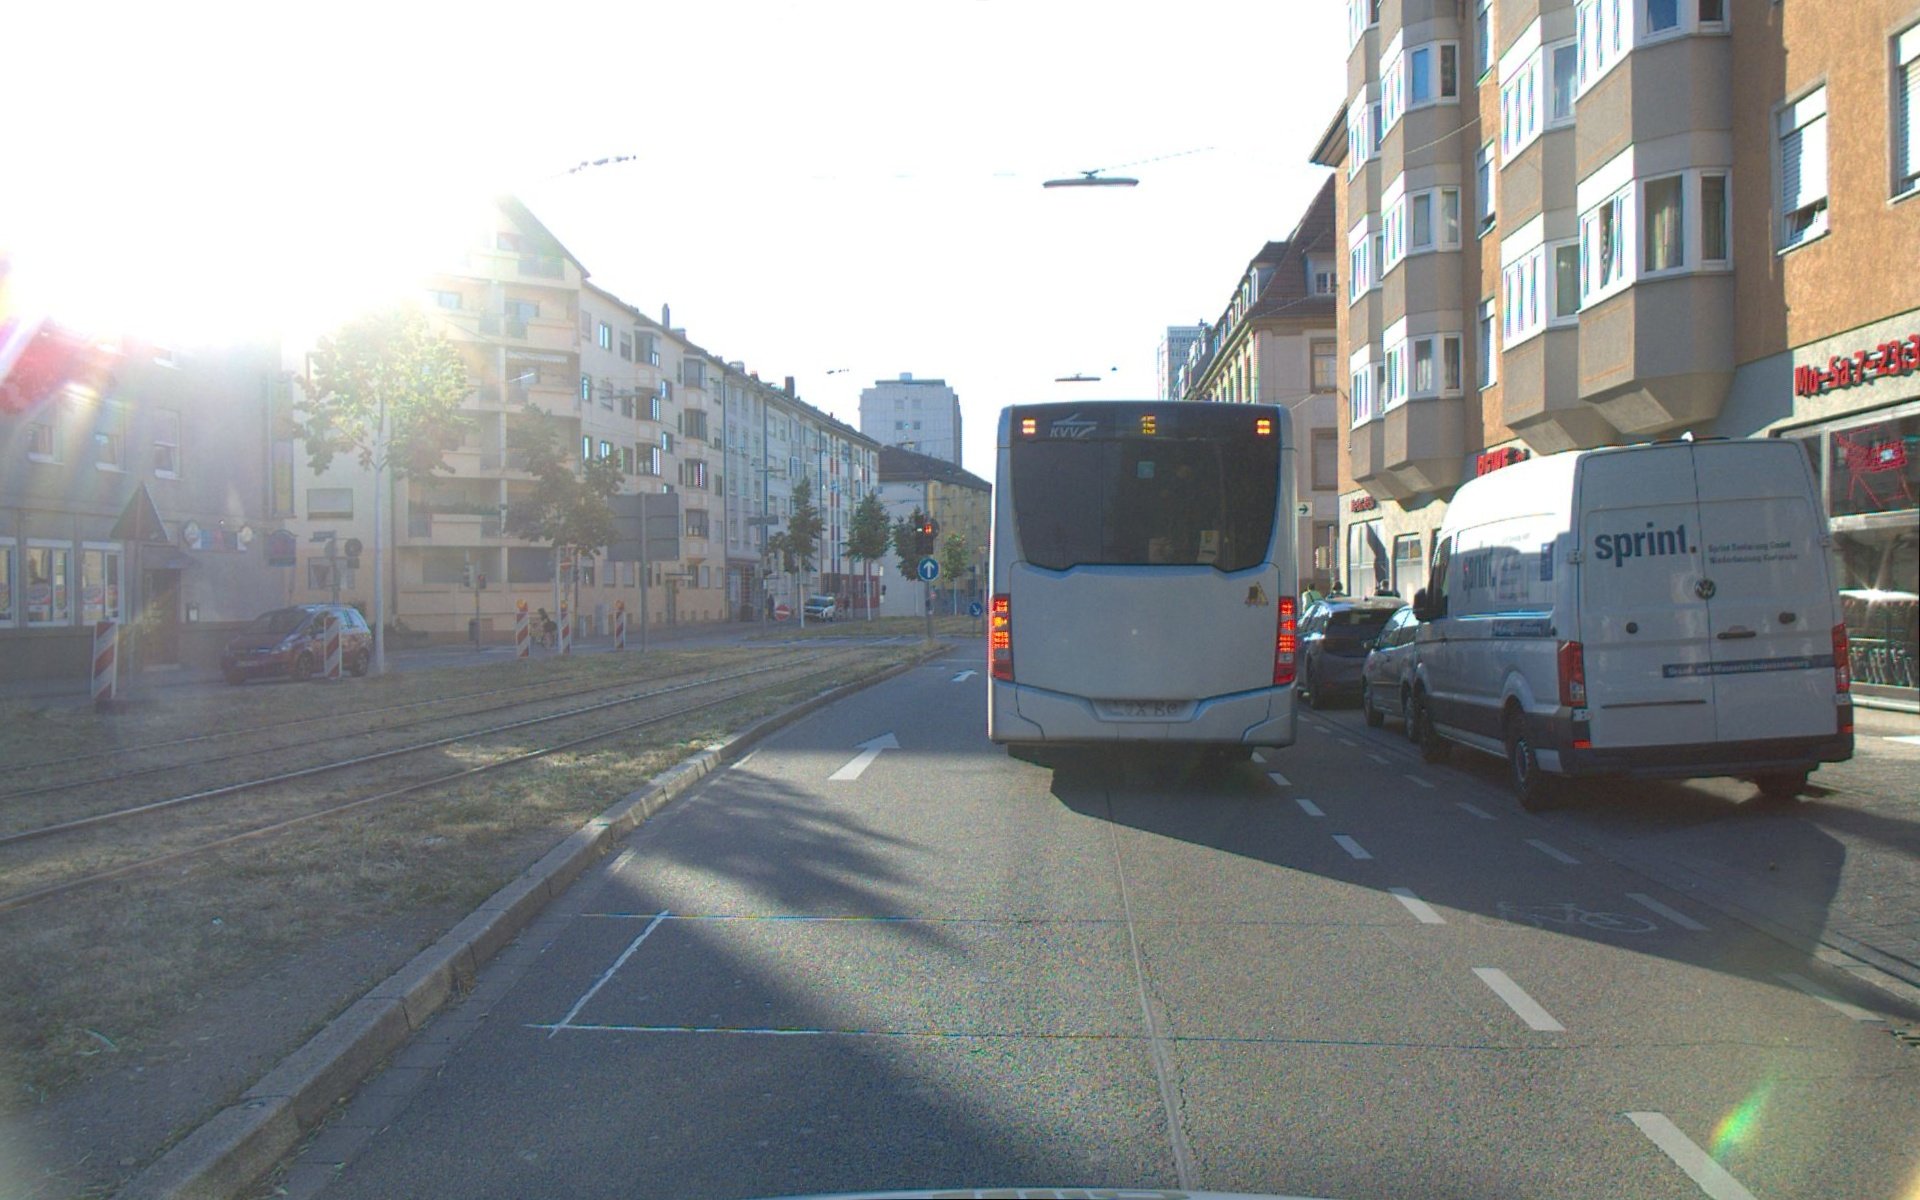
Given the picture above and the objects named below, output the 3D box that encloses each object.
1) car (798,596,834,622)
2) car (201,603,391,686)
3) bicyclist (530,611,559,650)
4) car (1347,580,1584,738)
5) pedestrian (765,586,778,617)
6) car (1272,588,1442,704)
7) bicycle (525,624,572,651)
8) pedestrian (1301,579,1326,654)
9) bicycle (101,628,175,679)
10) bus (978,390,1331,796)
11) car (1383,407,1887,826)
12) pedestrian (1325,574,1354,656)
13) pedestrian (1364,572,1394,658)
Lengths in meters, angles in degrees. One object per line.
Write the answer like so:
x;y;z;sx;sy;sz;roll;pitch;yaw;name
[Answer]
-10.439;0.648;120.098;1.773;1.829;4.248;-1;0;5;car
-14.542;0.932;36.555;1.773;1.587;4.938;-1;1;6;car
-16.081;1.171;63.991;0.518;1.472;0.962;-1;0;34;bicyclist
5.706;0.613;19.122;1.800;1.616;3.787;-1;0;4;car
-12.841;0.096;112.621;0.770;2.049;0.891;-1;0;1;pedestrian
5.862;0.637;24.894;1.800;1.563;4.232;-1;0;4;car
-15.955;1.456;64.183;0.518;1.001;1.877;-1;0;34;bicycle
8.740;0.405;40.915;0.535;1.815;0.450;-1;0;9;pedestrian
-19.194;1.238;38.665;0.731;1.134;1.779;-1;0;4;bicycle
1.803;-0.071;17.187;2.681;3.109;8.858;1;0;4;bus
5.141;0.112;13.698;1.975;2.595;5.787;-4;0;4;car
8.518;0.339;37.139;0.535;1.815;0.450;-1;0;4;pedestrian
8.891;0.316;35.086;0.535;1.815;0.450;1;-1;4;pedestrian
